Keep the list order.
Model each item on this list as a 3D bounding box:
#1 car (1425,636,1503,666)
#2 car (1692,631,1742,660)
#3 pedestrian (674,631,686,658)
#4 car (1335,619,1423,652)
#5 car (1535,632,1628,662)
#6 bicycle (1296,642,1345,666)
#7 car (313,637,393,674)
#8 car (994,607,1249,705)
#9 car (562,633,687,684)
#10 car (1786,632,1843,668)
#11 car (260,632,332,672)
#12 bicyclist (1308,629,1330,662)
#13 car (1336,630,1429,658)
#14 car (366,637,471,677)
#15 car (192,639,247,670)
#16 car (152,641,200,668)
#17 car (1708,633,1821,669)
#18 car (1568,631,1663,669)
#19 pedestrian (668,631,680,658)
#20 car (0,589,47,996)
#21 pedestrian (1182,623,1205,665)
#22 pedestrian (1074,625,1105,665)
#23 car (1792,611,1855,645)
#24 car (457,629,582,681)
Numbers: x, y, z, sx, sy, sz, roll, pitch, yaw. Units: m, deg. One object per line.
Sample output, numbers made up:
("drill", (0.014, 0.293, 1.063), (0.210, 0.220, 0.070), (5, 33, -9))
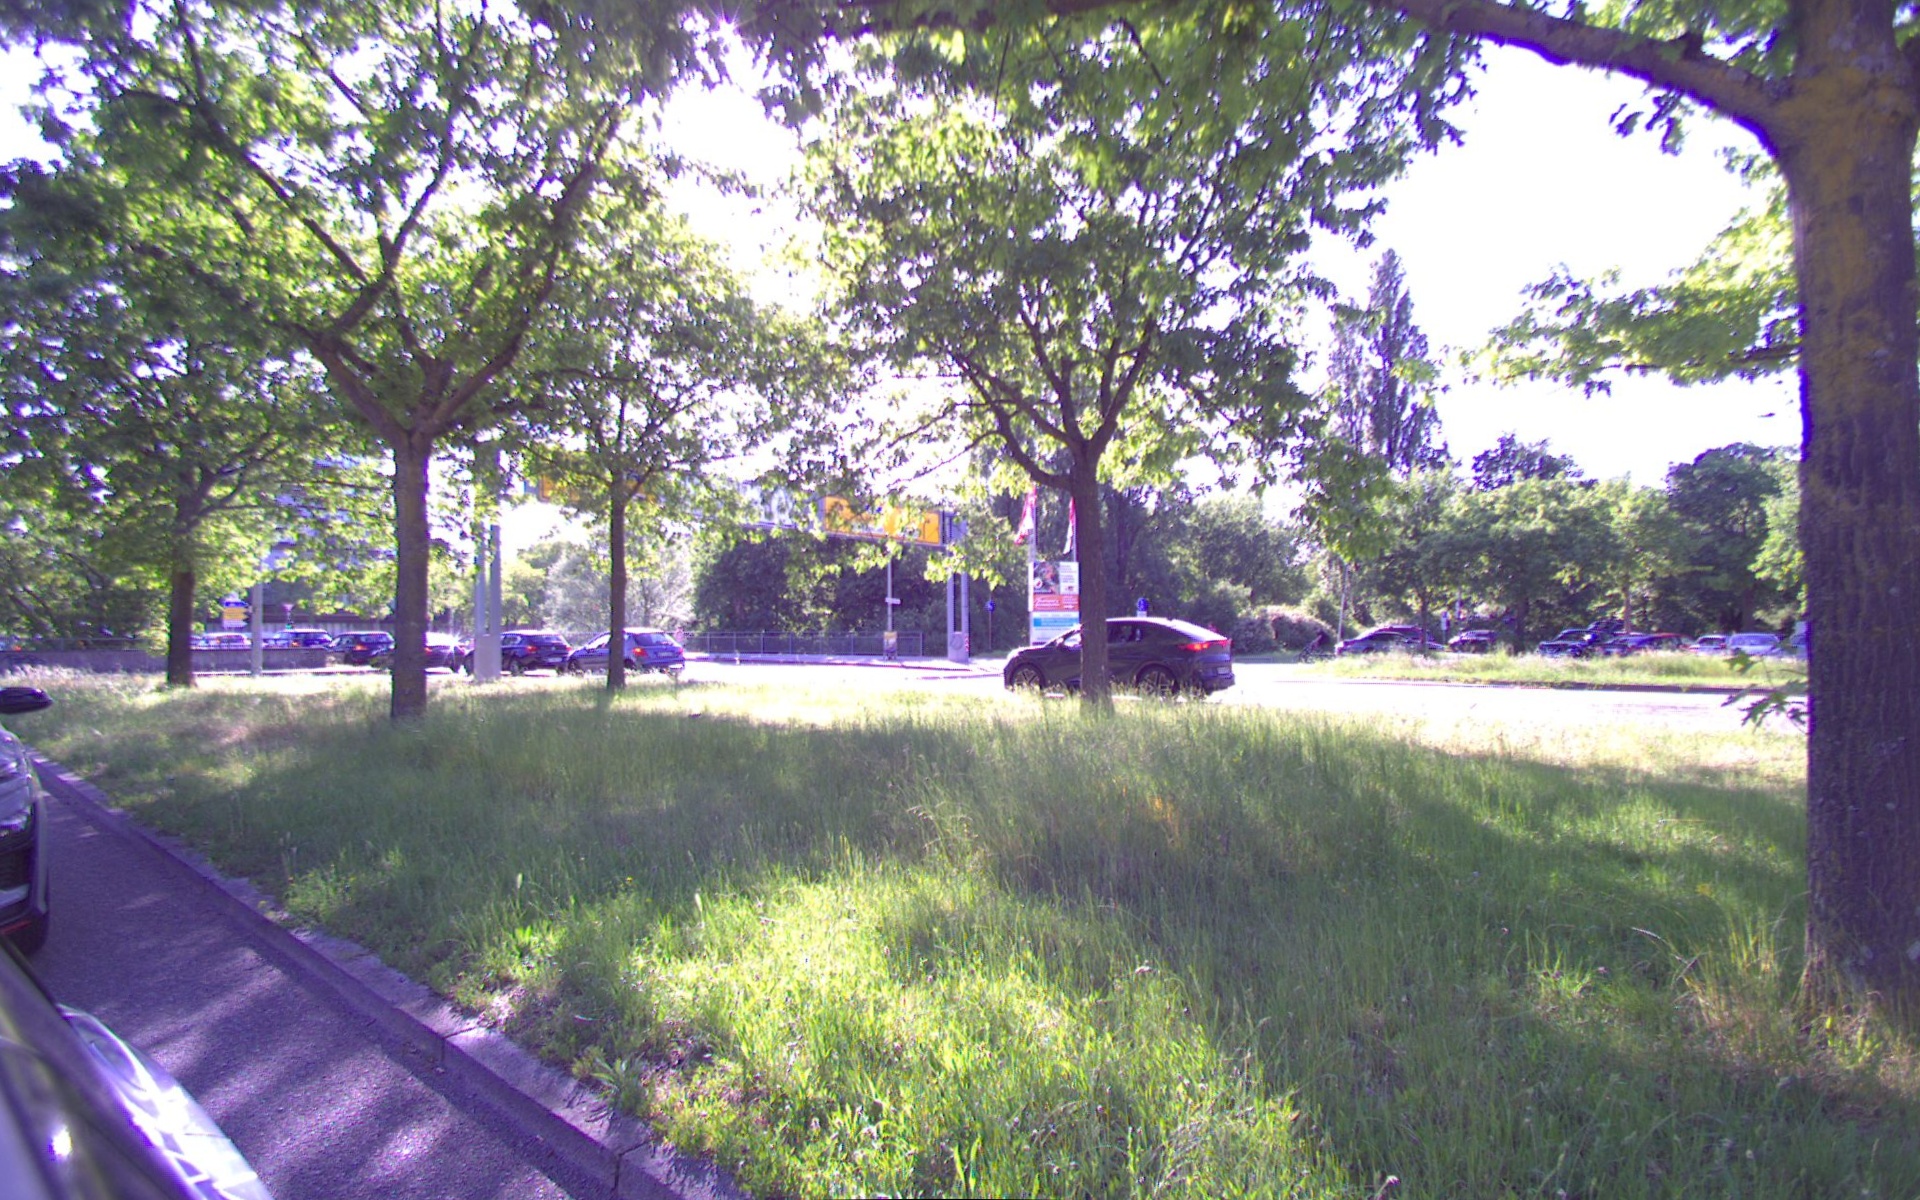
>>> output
("car", (31.550, 3.194, 63.490), (3.961, 1.807, 1.991), (-1, -2, 14))
("car", (32.970, 1.985, 44.120), (1.616, 1.187, 3.040), (-2, -2, 35))
("pedestrian", (-15.670, 2.466, 56.584), (0.544, 1.510, 0.416), (-2, -2, 33))
("car", (22.420, 1.897, 54.293), (3.959, 1.678, 1.992), (-1, -2, 13))
("car", (23.354, 1.774, 38.123), (2.774, 1.072, 1.324), (-1, -2, 23))
("bicycle", (16.522, 2.487, 46.390), (2.016, 1.060, 0.684), (-1, -2, 13))
("car", (-23.417, 2.123, 39.034), (3.195, 1.349, 1.464), (-3, -2, 35))
("car", (2.979, 1.016, 19.185), (4.453, 1.660, 1.809), (-2, -2, 37))
("car", (-9.557, 1.644, 28.770), (3.601, 1.374, 1.543), (-2, -2, 35))
("car", (35.613, 2.066, 42.225), (1.617, 1.430, 3.038), (-2, -2, 38))
("car", (-28.123, 2.203, 42.836), (3.195, 1.571, 1.433), (-4, -3, 34))
("bicyclist", (16.459, 2.084, 46.445), (0.839, 1.500, 0.678), (-1, -2, 13))
("car", (21.129, 2.202, 50.763), (3.957, 1.385, 1.826), (-1, -2, 11))
("car", (-19.224, 1.986, 35.863), (4.058, 1.323, 1.604), (-2, -2, 35))
("car", (-35.103, 2.588, 47.956), (2.875, 1.350, 1.214), (-5, -4, 34))
("car", (-40.105, 2.780, 51.742), (2.761, 1.270, 1.186), (-4, -3, 35))
("car", (26.886, 1.698, 33.916), (2.783, 1.165, 1.327), (-1, -2, 32))
("car", (23.534, 1.785, 36.440), (2.783, 1.315, 1.327), (-2, -2, 32))
("pedestrian", (-15.891, 2.473, 56.202), (0.544, 1.510, 0.416), (-2, -2, 33))
("car", (-5.631, 0.766, 4.607), (3.986, 1.544, 1.730), (-2, -2, 41))
("pedestrian", (10.781, 2.018, 46.745), (0.848, 1.881, 0.901), (-1, 0, 5))
("pedestrian", (5.464, 1.872, 42.555), (0.985, 1.642, 0.904), (-2, -2, 33))
("car", (43.887, 1.416, 51.403), (3.694, 1.681, 1.895), (1, -2, -41))
("car", (-14.167, 1.726, 32.459), (4.215, 1.562, 1.853), (-2, -2, 37))
